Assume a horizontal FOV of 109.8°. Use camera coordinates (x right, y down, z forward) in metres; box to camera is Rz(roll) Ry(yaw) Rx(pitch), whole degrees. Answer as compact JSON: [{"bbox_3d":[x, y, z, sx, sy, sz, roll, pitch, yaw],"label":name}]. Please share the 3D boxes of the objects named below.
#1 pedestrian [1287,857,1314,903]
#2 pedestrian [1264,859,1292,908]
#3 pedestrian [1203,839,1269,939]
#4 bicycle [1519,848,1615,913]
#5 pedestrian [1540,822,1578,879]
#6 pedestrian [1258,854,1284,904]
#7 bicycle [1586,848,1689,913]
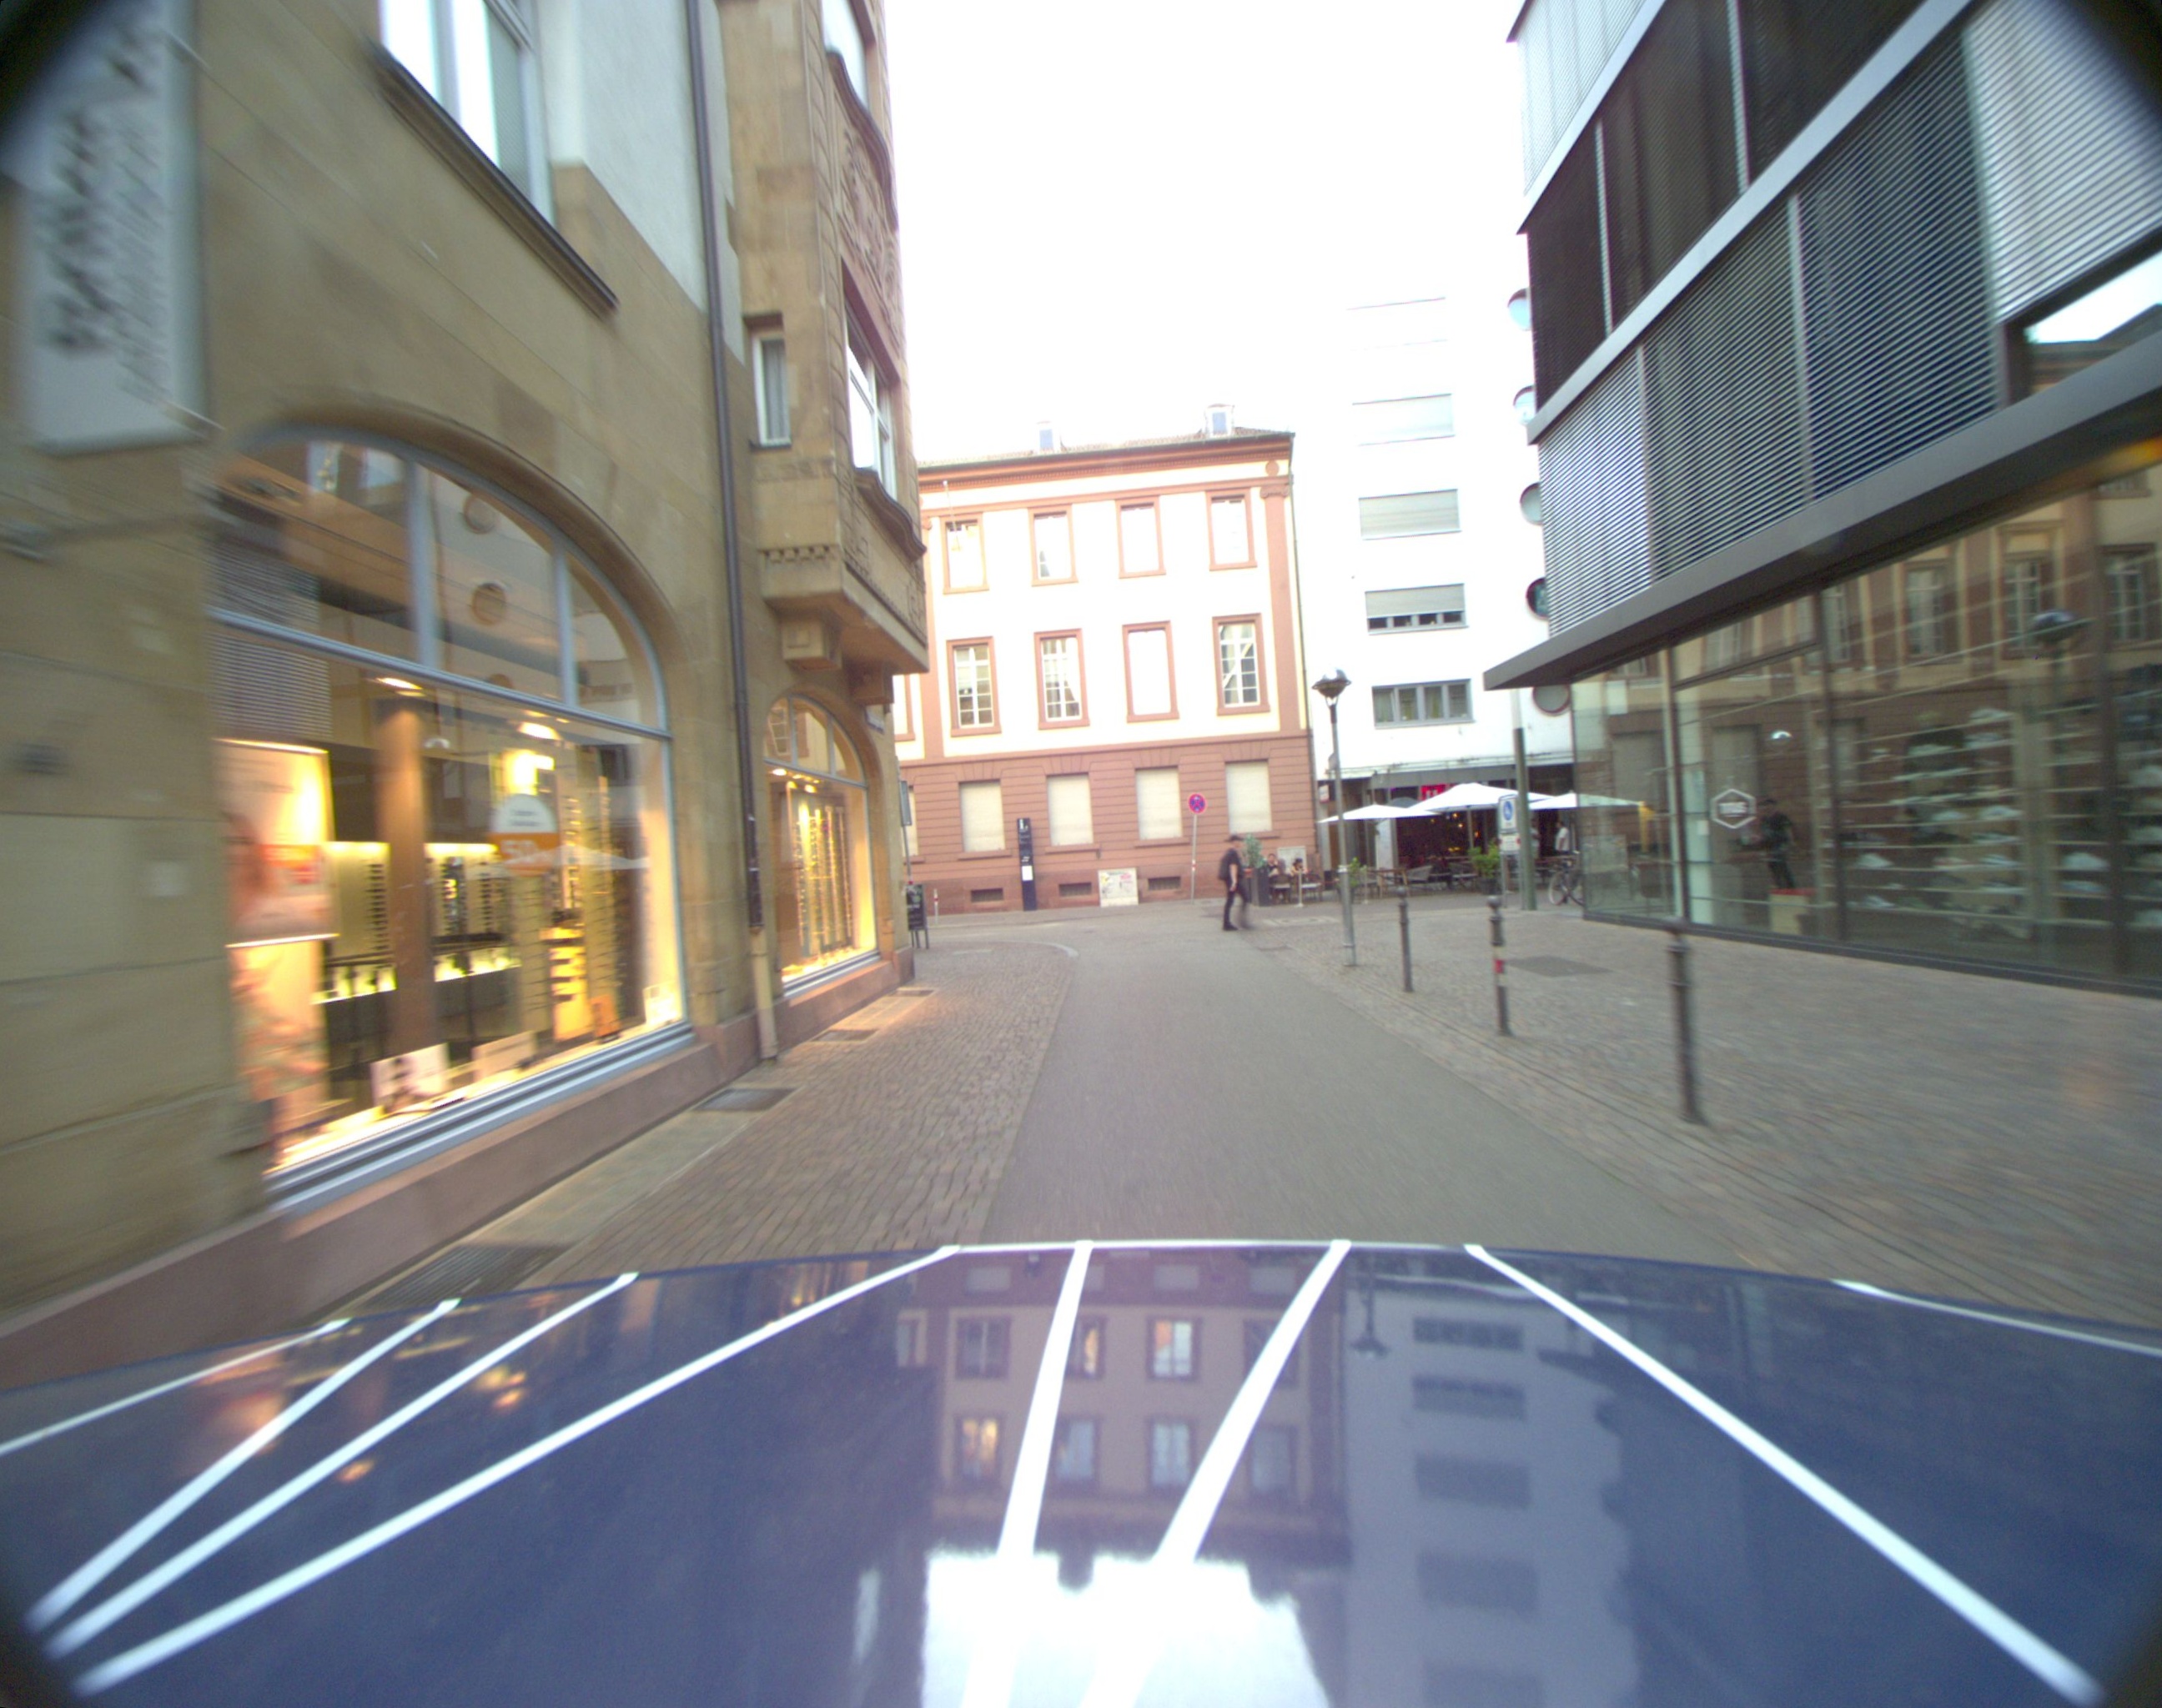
[{"bbox_3d":[6.015,0.703,20.821,0.548,1.204,0.524,-4,0,5],"label":"pedestrian"},{"bbox_3d":[5.102,0.754,19.659,0.561,1.204,0.461,-4,0,5],"label":"pedestrian"},{"bbox_3d":[2.900,0.642,14.287,0.968,1.774,0.740,-4,0,-4],"label":"pedestrian"},{"bbox_3d":[9.089,0.497,14.289,0.709,1.106,1.674,-4,-1,2],"label":"bicycle"},{"bbox_3d":[14.343,-0.088,22.819,0.671,1.655,0.623,-4,1,-25],"label":"pedestrian"},{"bbox_3d":[5.291,0.682,21.135,0.548,1.341,0.489,-4,0,5],"label":"pedestrian"},{"bbox_3d":[10.641,0.499,14.619,0.609,1.143,1.842,-4,-1,2],"label":"bicycle"}]
